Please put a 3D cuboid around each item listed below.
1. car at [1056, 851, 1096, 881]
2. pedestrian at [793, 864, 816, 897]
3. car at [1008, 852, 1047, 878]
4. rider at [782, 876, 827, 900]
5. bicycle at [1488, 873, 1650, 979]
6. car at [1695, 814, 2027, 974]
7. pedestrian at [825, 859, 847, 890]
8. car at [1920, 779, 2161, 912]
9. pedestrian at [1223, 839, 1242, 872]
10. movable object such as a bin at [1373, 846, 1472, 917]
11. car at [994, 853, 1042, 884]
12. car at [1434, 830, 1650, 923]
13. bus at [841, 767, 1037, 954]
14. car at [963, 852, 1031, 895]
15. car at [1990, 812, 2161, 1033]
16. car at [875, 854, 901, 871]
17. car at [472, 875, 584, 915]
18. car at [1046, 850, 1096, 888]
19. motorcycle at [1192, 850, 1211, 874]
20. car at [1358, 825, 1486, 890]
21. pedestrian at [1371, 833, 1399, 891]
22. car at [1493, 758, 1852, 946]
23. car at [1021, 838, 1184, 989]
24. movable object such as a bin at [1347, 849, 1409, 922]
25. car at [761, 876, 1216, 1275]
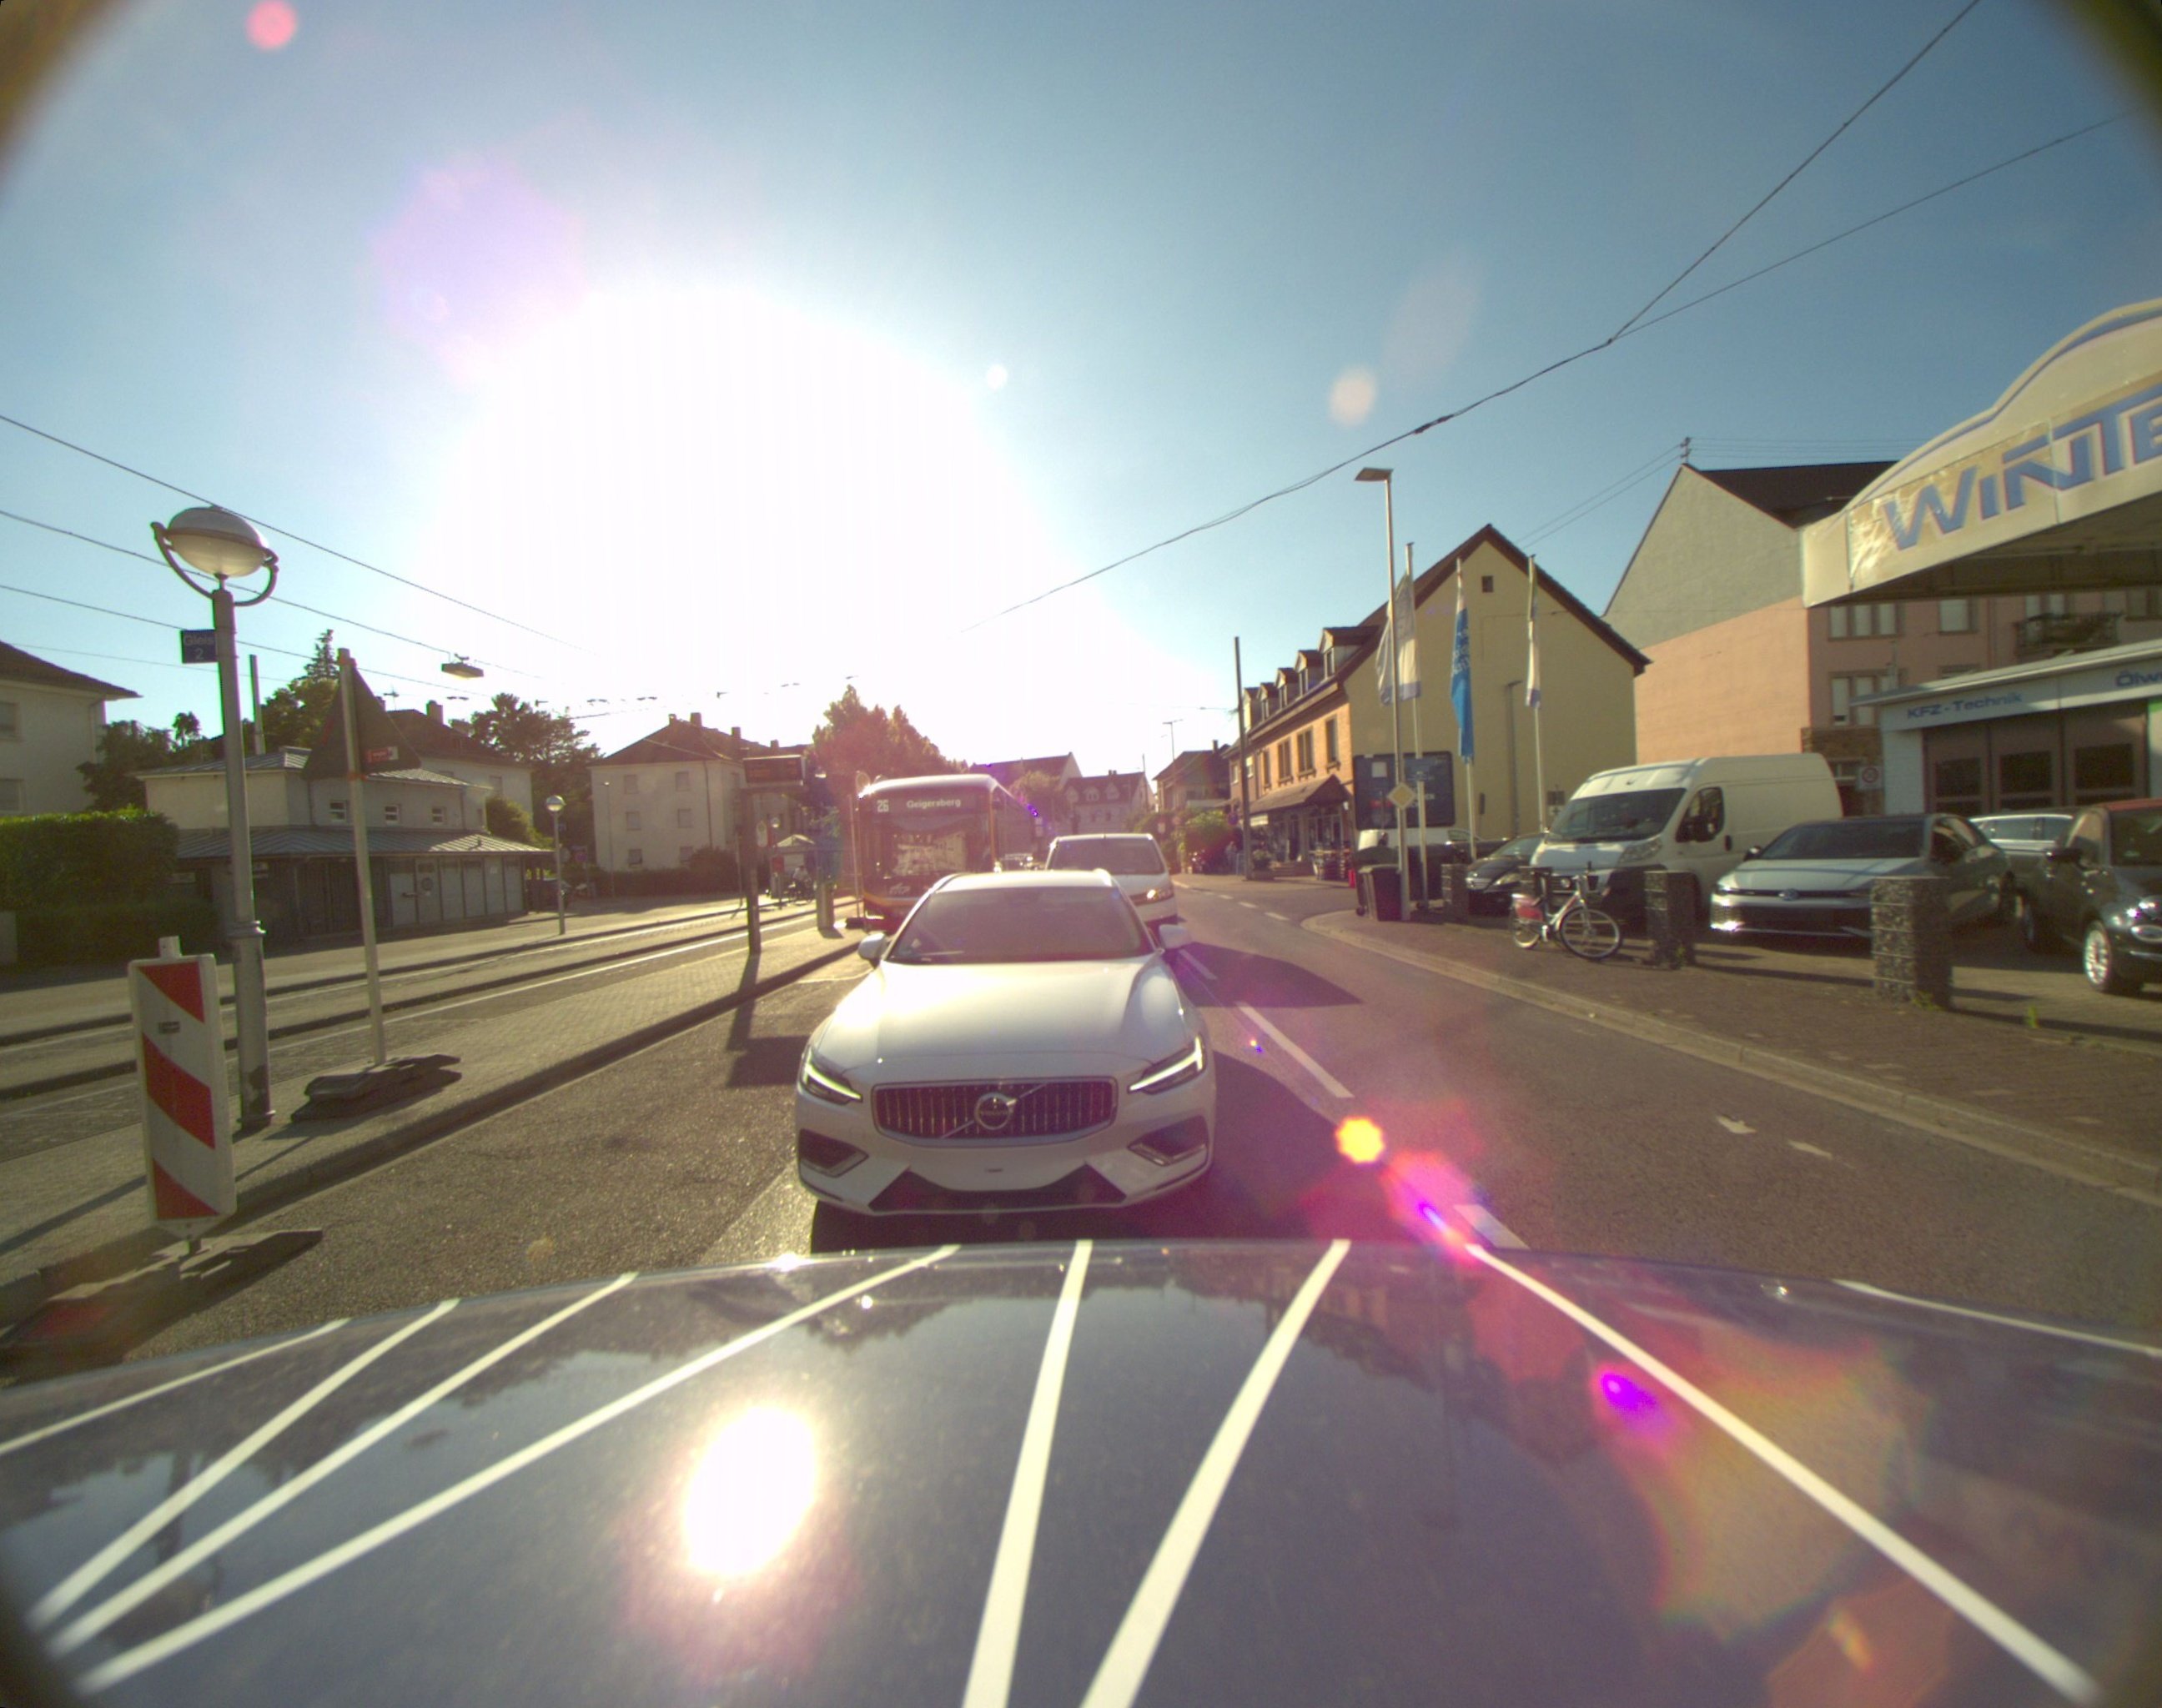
[{"bbox_3d":[-0.228,0.609,40.665,1.969,1.450,4.824,-2,0,1],"label":"car"},{"bbox_3d":[-11.994,1.155,32.921,0.657,1.373,0.581,-2,1,20],"label":"pedestrian"},{"bbox_3d":[-3.268,0.626,47.293,1.969,1.450,4.824,-2,0,1],"label":"car"},{"bbox_3d":[-11.989,1.480,32.937,1.853,0.986,0.581,-2,1,20],"label":"rider"},{"bbox_3d":[5.882,0.816,9.302,0.725,1.080,1.791,-3,1,-3],"label":"bicycle"},{"bbox_3d":[9.490,0.361,9.200,4.036,1.488,1.739,-3,1,-28],"label":"car"},{"bbox_3d":[-13.313,1.112,41.267,0.824,1.601,0.842,-2,1,5],"label":"pedestrian"},{"bbox_3d":[16.481,-0.171,11.976,1.742,1.933,4.257,-3,1,-1],"label":"car"},{"bbox_3d":[7.818,0.072,39.206,0.809,1.703,0.859,-2,1,1],"label":"pedestrian"},{"bbox_3d":[7.594,0.579,16.903,1.798,1.456,1.046,-3,1,-25],"label":"movable object such as a bin"},{"bbox_3d":[-3.226,0.702,39.879,1.969,1.450,4.824,-2,0,1],"label":"car"},{"bbox_3d":[8.968,0.375,14.736,4.036,1.469,1.739,-3,1,-28],"label":"car"},{"bbox_3d":[-2.918,0.094,19.823,2.748,3.284,12.030,-2,0,0],"label":"bus"},{"bbox_3d":[-3.150,0.703,29.490,1.969,1.450,4.824,-2,0,1],"label":"car"},{"bbox_3d":[9.076,0.414,6.154,1.590,1.488,3.442,-2,1,40],"label":"car"},{"bbox_3d":[-23.255,1.006,91.763,1.998,1.853,3.999,-2,1,1],"label":"car"},{"bbox_3d":[-27.686,2.042,38.130,4.052,1.663,2.000,-4,1,2],"label":"car"},{"bbox_3d":[-0.378,0.601,32.965,1.969,1.450,4.824,-2,0,1],"label":"car"},{"bbox_3d":[6.355,0.414,40.108,0.708,1.210,2.186,-2,1,3],"label":"motorcycle"},{"bbox_3d":[11.566,0.097,25.911,3.672,2.002,1.451,-2,1,-3],"label":"car"},{"bbox_3d":[9.845,0.254,24.593,0.765,1.842,0.824,-2,1,24],"label":"pedestrian"},{"bbox_3d":[9.144,-0.133,11.749,4.997,2.440,2.111,-3,1,-22],"label":"car"},{"bbox_3d":[0.303,0.734,11.999,1.969,1.816,5.033,-2,0,1],"label":"car"},{"bbox_3d":[6.237,0.642,15.939,1.045,1.456,0.797,-2,1,32],"label":"movable object such as a bin"},{"bbox_3d":[-0.353,0.983,5.246,1.821,1.446,4.217,-2,0,1],"label":"car"}]
